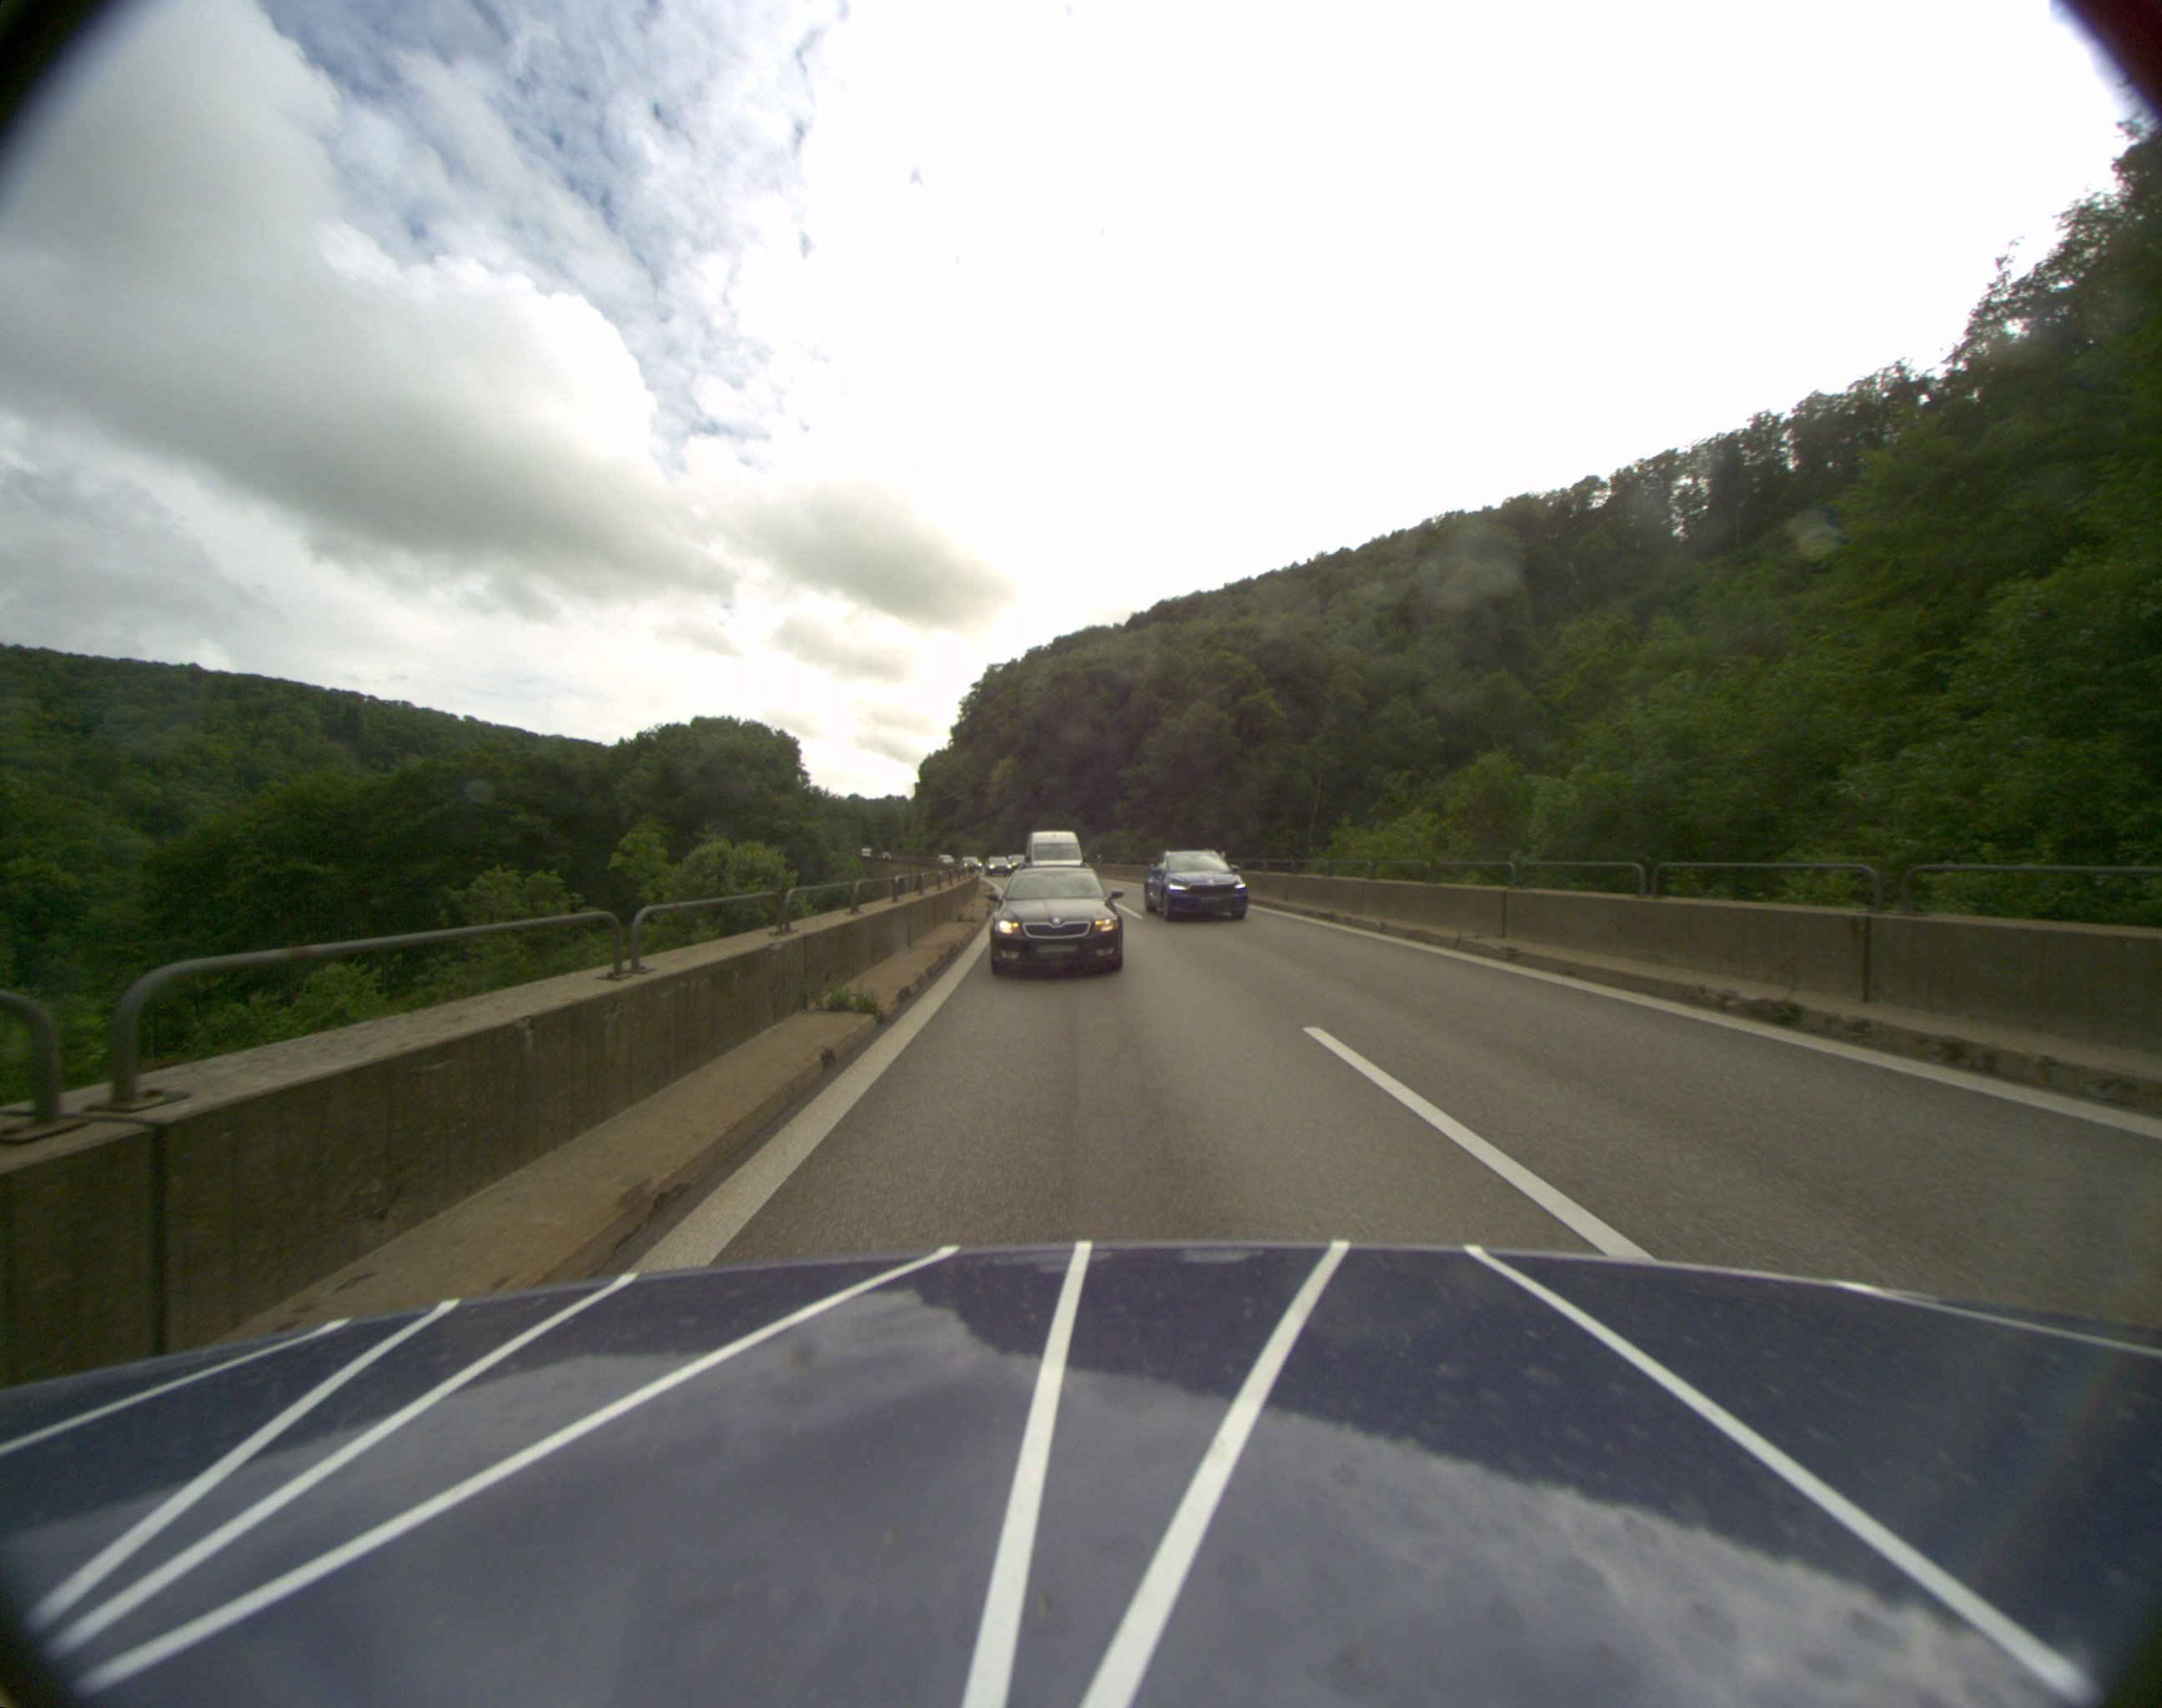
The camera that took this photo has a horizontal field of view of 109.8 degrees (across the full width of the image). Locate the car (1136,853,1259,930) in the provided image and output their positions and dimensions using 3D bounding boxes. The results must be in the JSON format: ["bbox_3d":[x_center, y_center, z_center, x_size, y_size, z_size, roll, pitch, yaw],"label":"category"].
[{"bbox_3d":[2.715,0.825,19.016,1.999,1.622,5.006,-1,0,-4],"label":"car"}]

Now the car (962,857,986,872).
[{"bbox_3d":[-10.502,1.010,74.357,1.890,1.312,3.995,-2,1,-14],"label":"car"}]

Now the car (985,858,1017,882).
[{"bbox_3d":[-6.293,1.188,59.408,1.966,1.696,3.995,-2,1,-12],"label":"car"}]

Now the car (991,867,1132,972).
[{"bbox_3d":[-0.375,0.982,13.400,1.999,1.389,5.007,-1,0,-2],"label":"car"}]

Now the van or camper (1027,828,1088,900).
[{"bbox_3d":[-1.060,0.359,30.691,2.082,2.575,5.908,-2,1,-5],"label":"van or camper"}]

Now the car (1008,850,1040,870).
[{"bbox_3d":[-5.180,0.509,68.667,2.001,1.623,5.001,-2,1,-14],"label":"car"}]

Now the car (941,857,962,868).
[{"bbox_3d":[-17.431,1.131,102.170,1.891,1.312,3.993,-3,1,-21],"label":"car"}]
